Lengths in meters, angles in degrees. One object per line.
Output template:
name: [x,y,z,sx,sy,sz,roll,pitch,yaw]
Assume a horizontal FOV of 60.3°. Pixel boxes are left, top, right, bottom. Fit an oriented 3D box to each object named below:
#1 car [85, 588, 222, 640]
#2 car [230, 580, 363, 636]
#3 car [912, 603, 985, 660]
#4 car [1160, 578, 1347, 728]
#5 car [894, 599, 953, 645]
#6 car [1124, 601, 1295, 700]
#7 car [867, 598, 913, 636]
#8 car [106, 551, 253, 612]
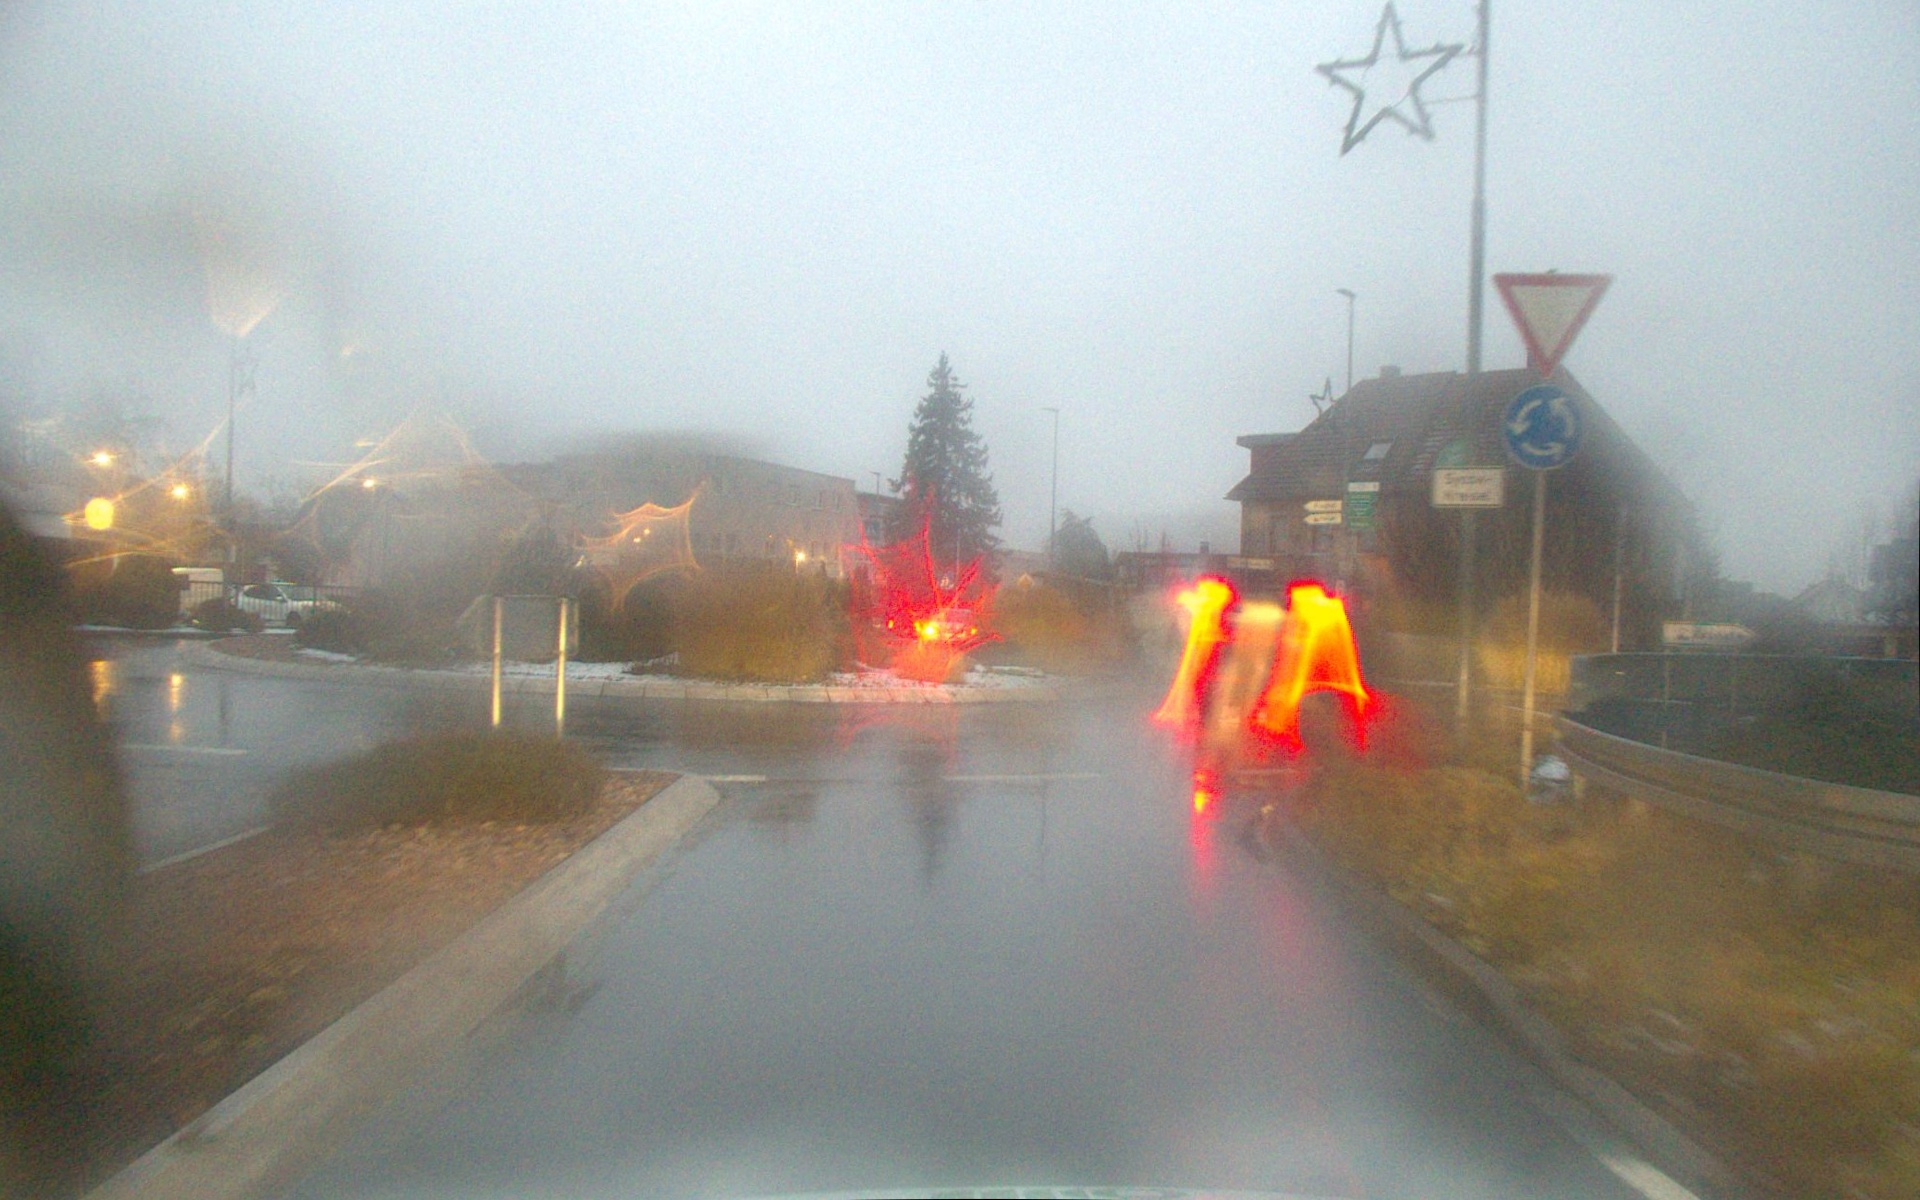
car: [-25.031,0.417,51.308,3.912,1.334,1.838,3,-1,29]
car: [-22.016,0.254,54.870,4.194,1.588,2.058,3,-2,35]
car: [-0.397,0.989,50.518,1.846,1.643,4.566,1,-2,-5]
car: [3.817,0.652,22.139,1.904,1.748,4.001,2,0,3]
car: [-1.379,0.840,60.804,1.846,1.575,4.566,1,-2,-5]
car: [4.892,0.947,33.168,2.123,1.719,4.563,1,1,-9]
car: [-3.062,0.744,71.764,1.739,1.571,3.995,1,-1,-6]
car: [-32.389,-0.735,68.798,1.986,2.171,5.419,3,-2,25]
